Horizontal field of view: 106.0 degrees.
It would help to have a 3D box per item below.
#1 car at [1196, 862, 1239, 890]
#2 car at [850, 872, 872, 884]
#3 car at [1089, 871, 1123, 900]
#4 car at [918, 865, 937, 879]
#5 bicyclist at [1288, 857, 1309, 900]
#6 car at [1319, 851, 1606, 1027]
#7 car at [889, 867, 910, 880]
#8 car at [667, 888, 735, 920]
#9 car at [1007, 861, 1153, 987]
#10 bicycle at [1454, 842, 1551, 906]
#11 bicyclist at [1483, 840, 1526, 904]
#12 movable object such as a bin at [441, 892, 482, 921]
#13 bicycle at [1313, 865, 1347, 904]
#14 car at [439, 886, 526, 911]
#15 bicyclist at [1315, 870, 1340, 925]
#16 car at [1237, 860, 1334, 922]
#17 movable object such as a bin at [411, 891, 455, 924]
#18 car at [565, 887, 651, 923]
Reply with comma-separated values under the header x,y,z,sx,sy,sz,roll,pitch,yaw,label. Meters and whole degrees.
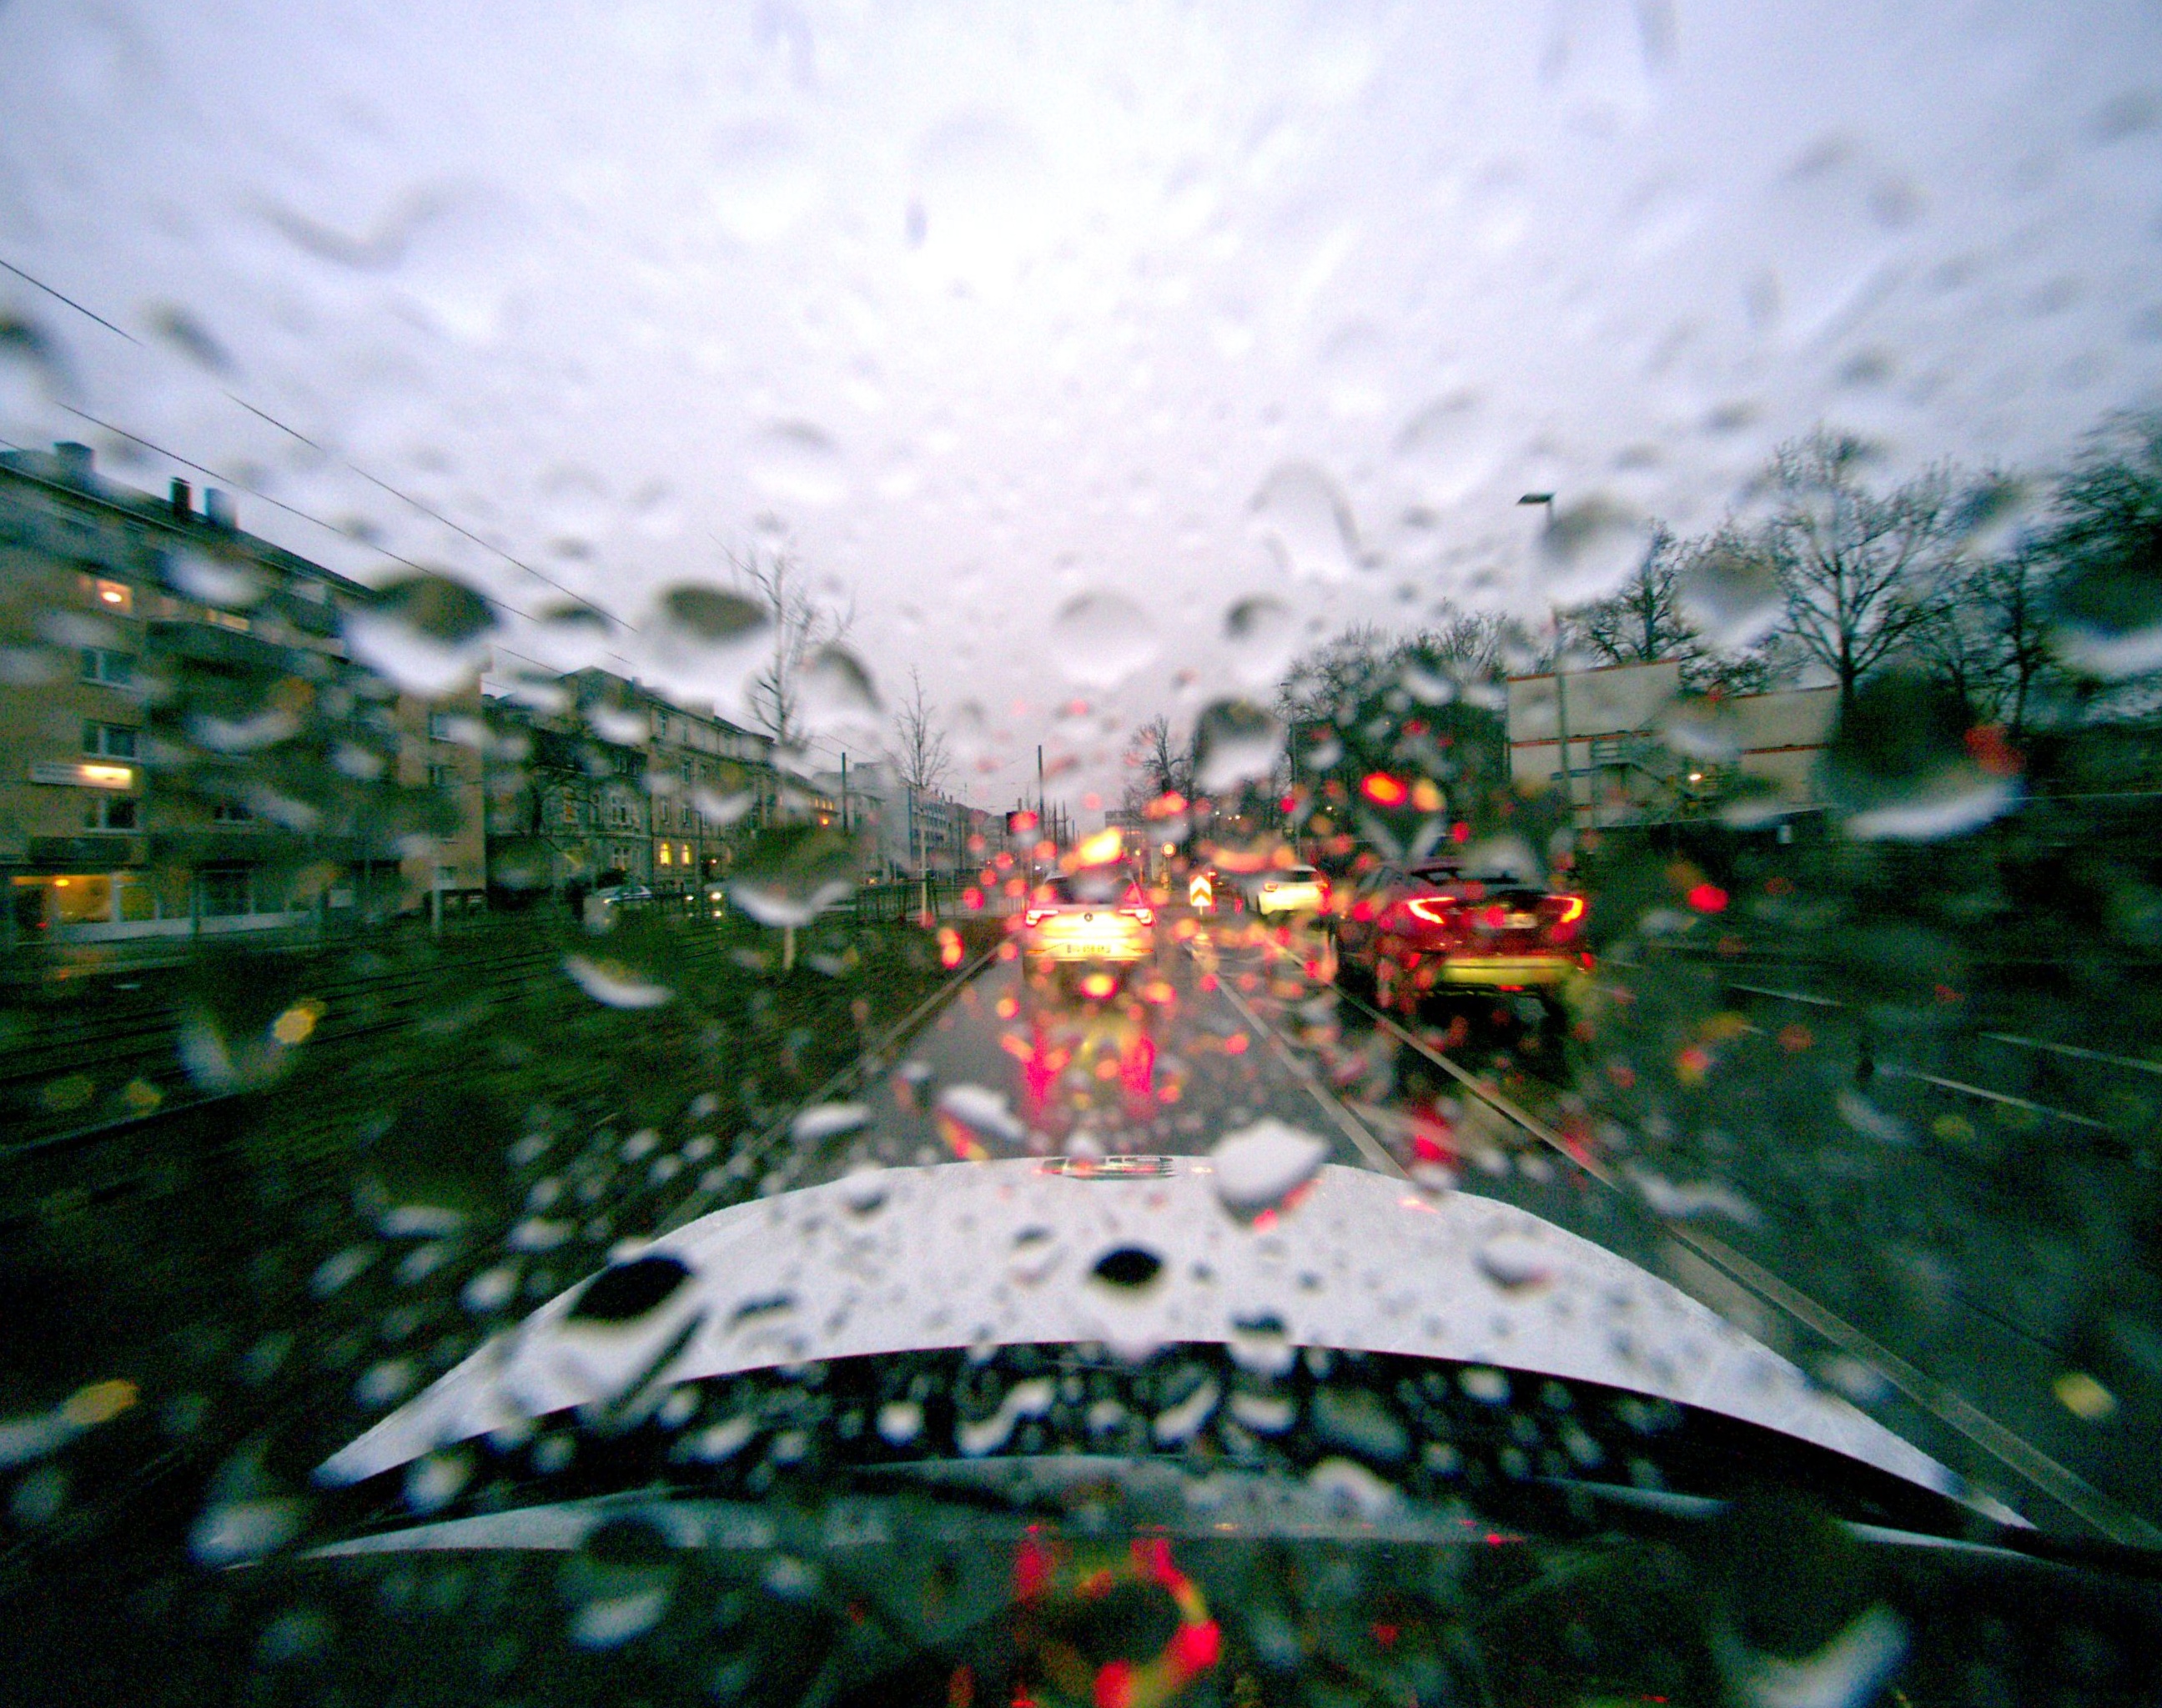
x,y,z,sx,sy,sz,roll,pitch,yaw,label
6.657,1.079,39.971,1.617,1.299,4.002,0,-1,2,car
-29.535,3.234,109.387,1.801,1.436,3.925,-3,0,-1,car
1.377,1.649,43.932,1.715,1.479,4.002,0,-1,2,car
-24.318,2.853,129.336,1.988,1.933,4.909,-3,0,-1,car
8.218,0.928,30.847,0.498,1.591,0.837,-2,-1,-1,bicyclist
3.823,0.760,8.946,1.713,1.479,4.008,0,-1,7,car
-24.980,2.677,112.182,1.988,1.692,4.109,-3,0,-1,car
-20.679,2.703,44.526,1.795,1.585,4.000,0,-1,1,car
0.077,0.843,11.594,1.715,1.479,4.002,0,0,2,car
11.414,0.541,22.106,0.694,1.657,2.219,1,-2,-44,bicycle
11.479,0.485,22.081,0.807,1.679,0.701,-3,-1,44,bicyclist
-33.660,2.839,44.269,1.104,1.480,1.424,-3,-1,-2,movable object such as a bin
8.081,0.963,26.473,0.410,1.185,2.028,-2,-1,-1,bicycle
-36.978,2.737,50.388,3.975,1.407,1.833,-2,-1,-1,car
8.075,1.407,26.688,0.498,1.767,0.837,-2,-1,-1,bicyclist
5.263,0.928,21.453,1.715,1.479,4.002,0,-1,2,car
-33.773,2.778,42.448,1.104,1.561,1.424,-3,-1,-2,movable object such as a bin
-22.932,2.437,39.653,1.795,1.585,4.000,0,-1,1,car
